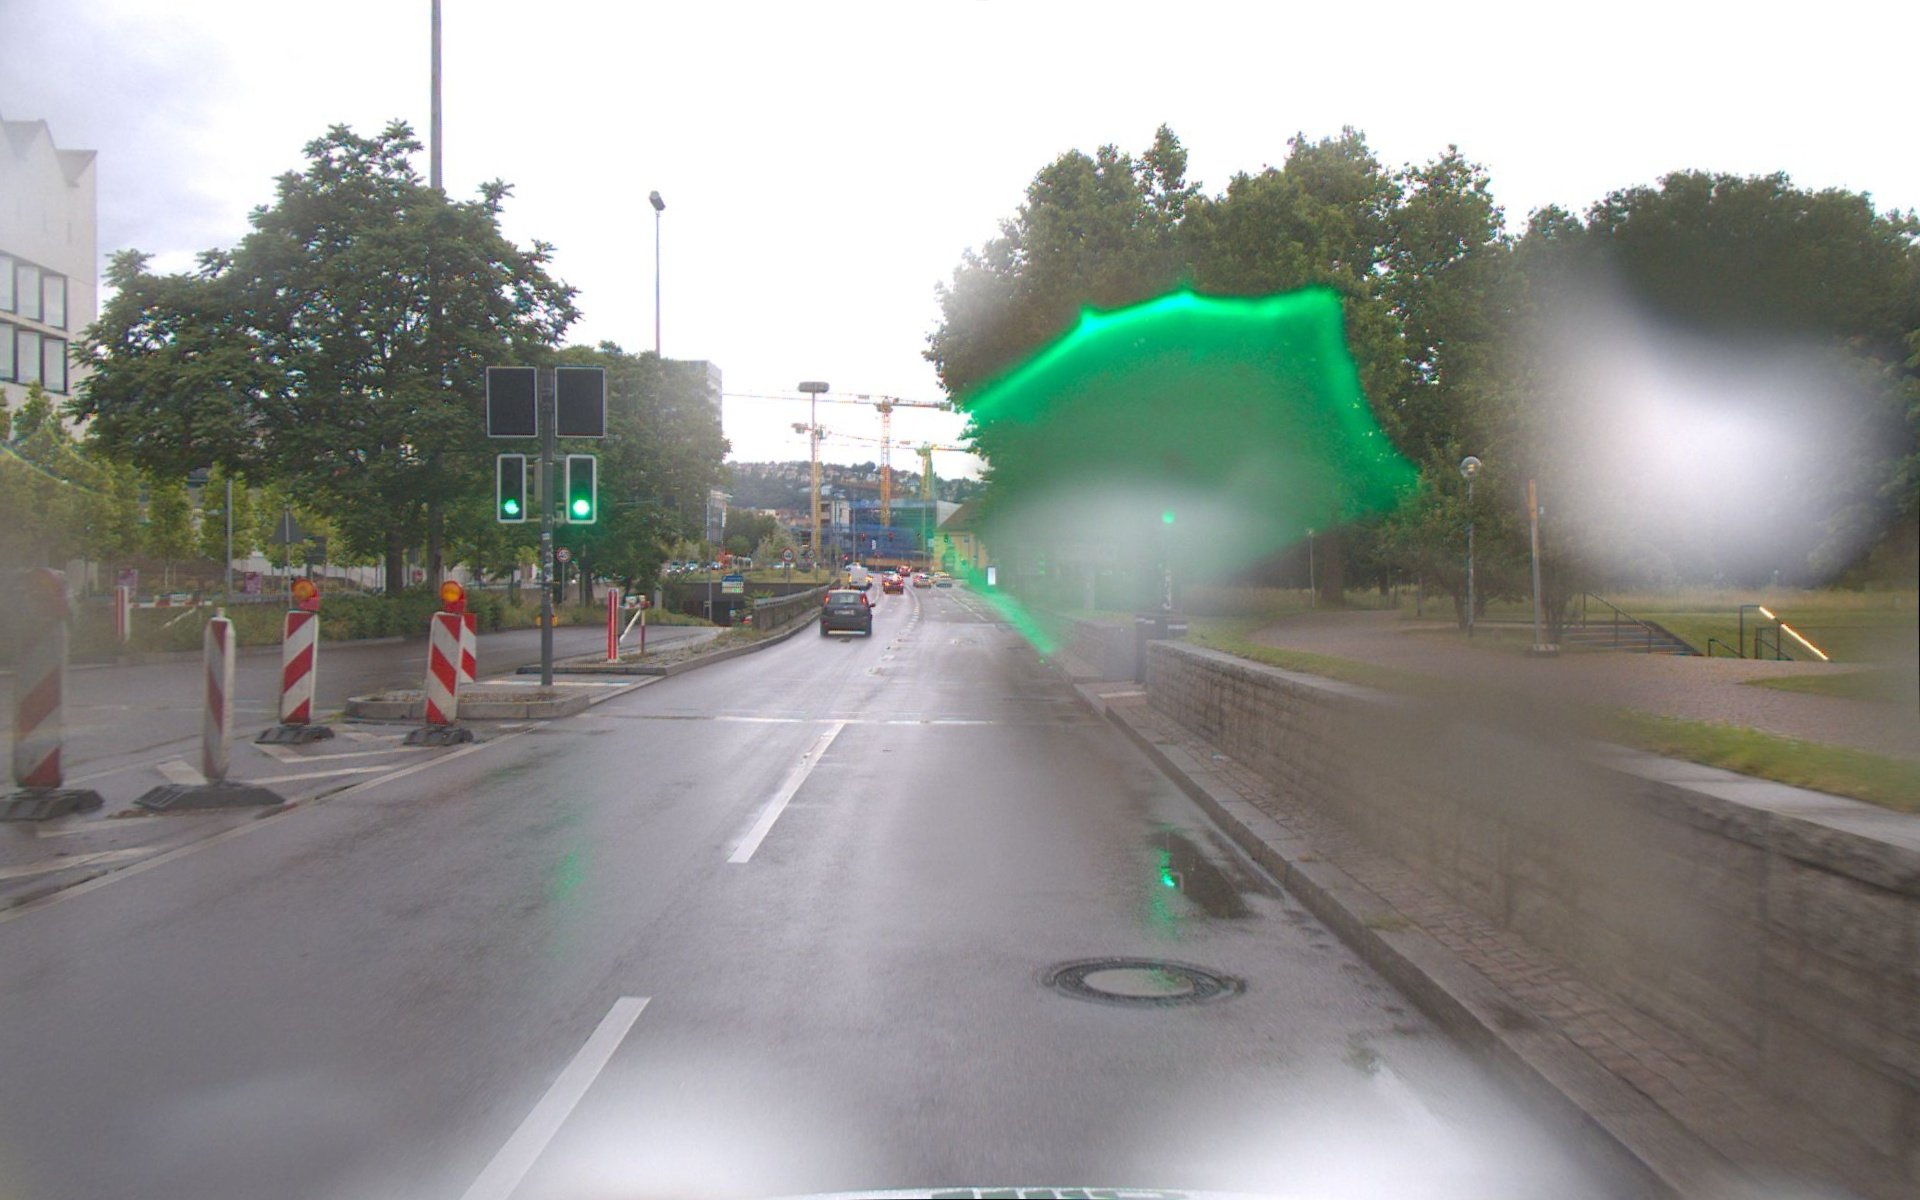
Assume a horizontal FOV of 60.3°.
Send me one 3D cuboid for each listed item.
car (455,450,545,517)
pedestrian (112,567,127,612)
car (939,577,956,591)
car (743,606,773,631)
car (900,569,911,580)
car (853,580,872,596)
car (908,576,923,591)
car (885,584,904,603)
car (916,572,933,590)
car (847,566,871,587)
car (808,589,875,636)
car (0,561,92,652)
[{"bbox_3d":[-13.378,-3.349,48.305,1.956,1.661,3.993,0,0,-7],"label":"car"},{"bbox_3d":[-38.152,-0.483,75.072,0.535,2.049,0.523,-1,-1,-38],"label":"pedestrian"},{"bbox_3d":[-1.543,-1.902,201.967,1.953,1.627,4.000,-1,-1,0],"label":"car"},{"bbox_3d":[-15.770,1.444,129.413,1.953,1.812,3.999,0,1,-2],"label":"car"},{"bbox_3d":[-8.518,-3.999,259.370,1.686,1.584,3.583,0,0,0],"label":"car"},{"bbox_3d":[-11.260,-1.359,190.797,1.953,1.814,4.000,-1,-1,0],"label":"car"},{"bbox_3d":[-5.348,-1.993,197.649,1.677,1.719,3.849,-1,-1,0],"label":"car"},{"bbox_3d":[-6.443,-0.654,163.547,1.703,1.802,3.999,-1,-1,0],"label":"car"},{"bbox_3d":[-4.130,-2.197,192.124,1.947,2.049,3.999,-1,-1,-1],"label":"car"},{"bbox_3d":[-10.614,-2.410,173.604,2.174,2.049,4.000,-2,-1,0],"label":"car"},{"bbox_3d":[-3.852,0.406,53.325,1.810,1.441,3.831,-1,-1,-9],"label":"car"},{"bbox_3d":[-20.866,0.171,35.714,1.954,1.872,4.887,-1,-1,-5],"label":"car"}]
